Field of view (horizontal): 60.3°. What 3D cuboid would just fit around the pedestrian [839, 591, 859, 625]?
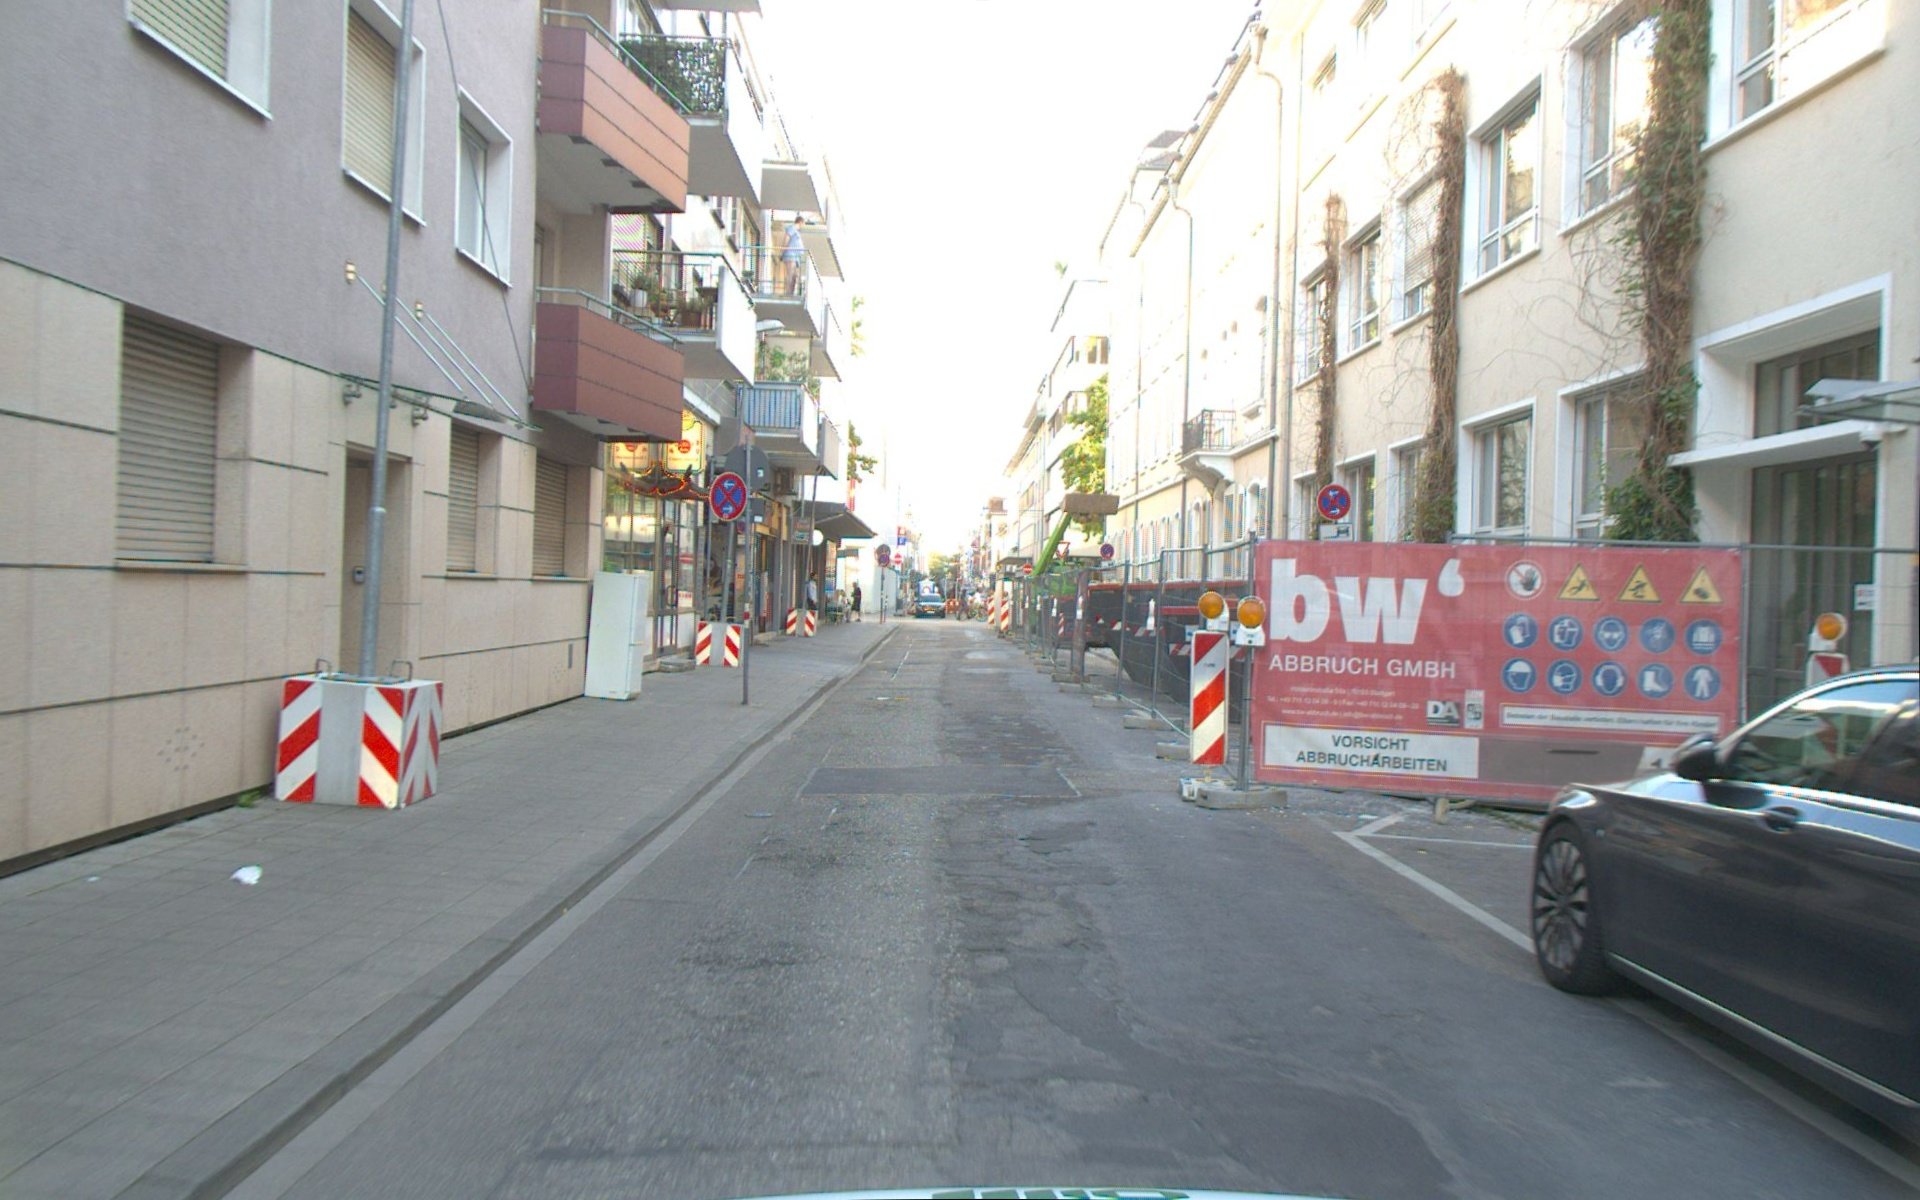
[{"bbox_3d":[-4.427,0.319,66.064,0.688,1.297,0.713,3,0,-1],"label":"pedestrian"}]

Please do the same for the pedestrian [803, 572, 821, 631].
[{"bbox_3d":[-4.801,0.045,53.550,0.520,1.866,0.562,1,0,-7],"label":"pedestrian"}]

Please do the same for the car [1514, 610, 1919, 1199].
[{"bbox_3d":[3.321,0.860,4.882,1.751,1.497,4.445,4,0,-1],"label":"car"}]

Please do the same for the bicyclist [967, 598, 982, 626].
[{"bbox_3d":[0.739,0.627,86.485,0.710,1.467,0.506,1,0,-3],"label":"bicyclist"}]

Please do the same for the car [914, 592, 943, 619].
[{"bbox_3d":[-1.921,0.330,100.242,1.597,1.577,3.140,1,0,-4],"label":"car"}]

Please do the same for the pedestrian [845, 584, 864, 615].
[{"bbox_3d":[-4.494,-0.011,70.496,0.697,1.298,0.704,2,0,-1],"label":"pedestrian"}]

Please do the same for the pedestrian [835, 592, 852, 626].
[{"bbox_3d":[-4.580,0.338,65.142,0.561,1.297,0.713,3,0,-1],"label":"pedestrian"}]

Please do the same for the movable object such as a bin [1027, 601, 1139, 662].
[{"bbox_3d":[3.751,0.921,52.109,2.681,1.667,7.550,2,0,-2],"label":"movable object such as a bin"}]

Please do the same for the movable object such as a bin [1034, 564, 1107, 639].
[{"bbox_3d":[4.402,0.058,66.654,2.552,2.888,4.449,1,0,-1],"label":"movable object such as a bin"}]

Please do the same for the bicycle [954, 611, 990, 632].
[{"bbox_3d":[0.622,1.134,86.513,1.853,1.056,0.409,1,0,-4],"label":"bicycle"}]

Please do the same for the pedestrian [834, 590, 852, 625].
[{"bbox_3d":[-4.537,0.294,64.287,0.561,1.297,0.713,3,0,-1],"label":"pedestrian"}]

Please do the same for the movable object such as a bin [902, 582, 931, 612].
[{"bbox_3d":[-3.009,-0.201,115.331,1.953,2.049,4.000,1,0,0],"label":"movable object such as a bin"}]

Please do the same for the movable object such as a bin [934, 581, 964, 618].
[{"bbox_3d":[-0.851,-0.023,125.630,2.113,2.710,4.571,2,0,-1],"label":"movable object such as a bin"}]
